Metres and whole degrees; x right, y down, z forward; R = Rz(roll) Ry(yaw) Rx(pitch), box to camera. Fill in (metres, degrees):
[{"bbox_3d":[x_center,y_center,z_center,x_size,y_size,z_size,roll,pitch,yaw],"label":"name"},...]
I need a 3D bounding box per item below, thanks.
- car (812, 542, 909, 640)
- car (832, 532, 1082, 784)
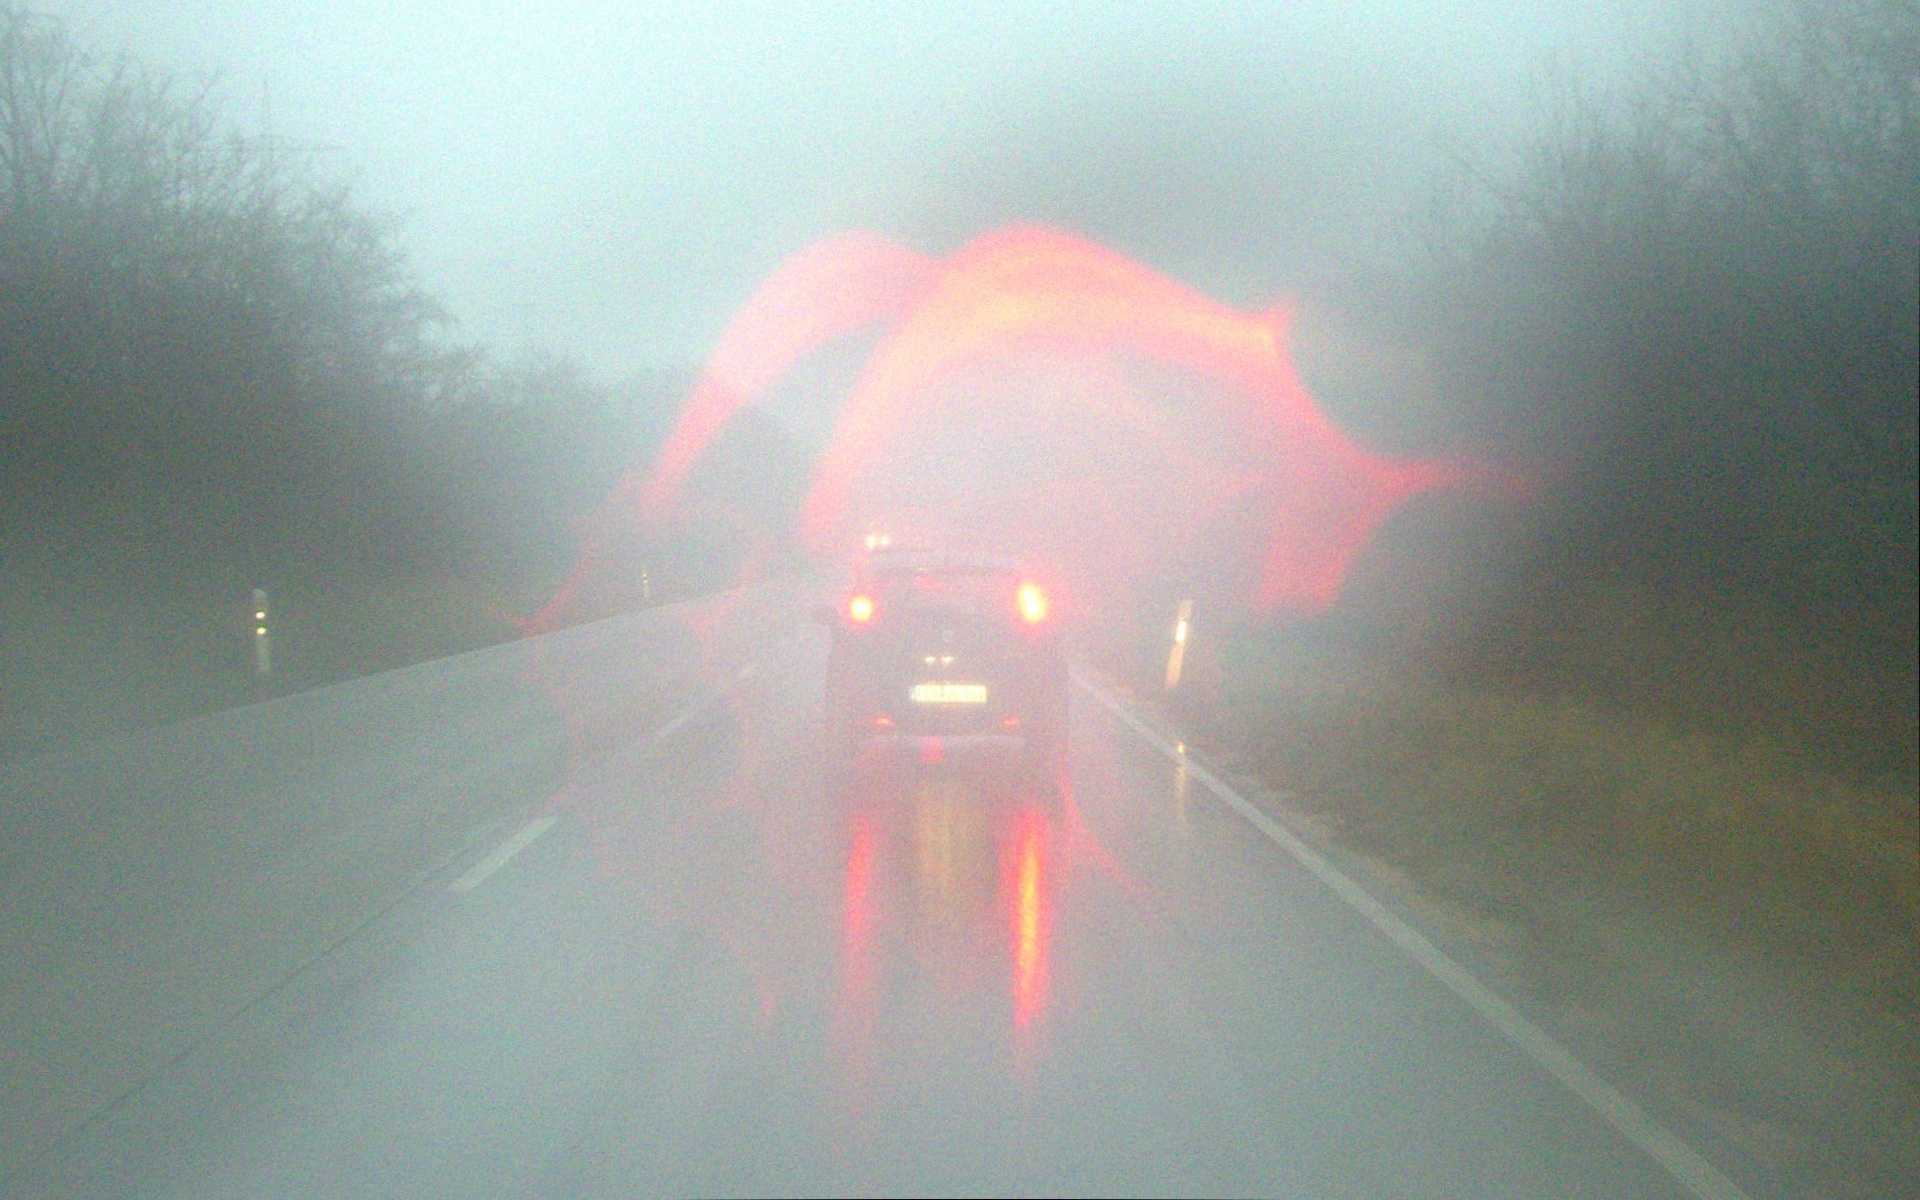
[{"bbox_3d":[-1.853,-0.192,64.649,1.733,1.773,4.000,1,1,-1],"label":"car"},{"bbox_3d":[-0.045,0.364,24.818,1.648,1.666,3.514,1,1,-1],"label":"car"}]
